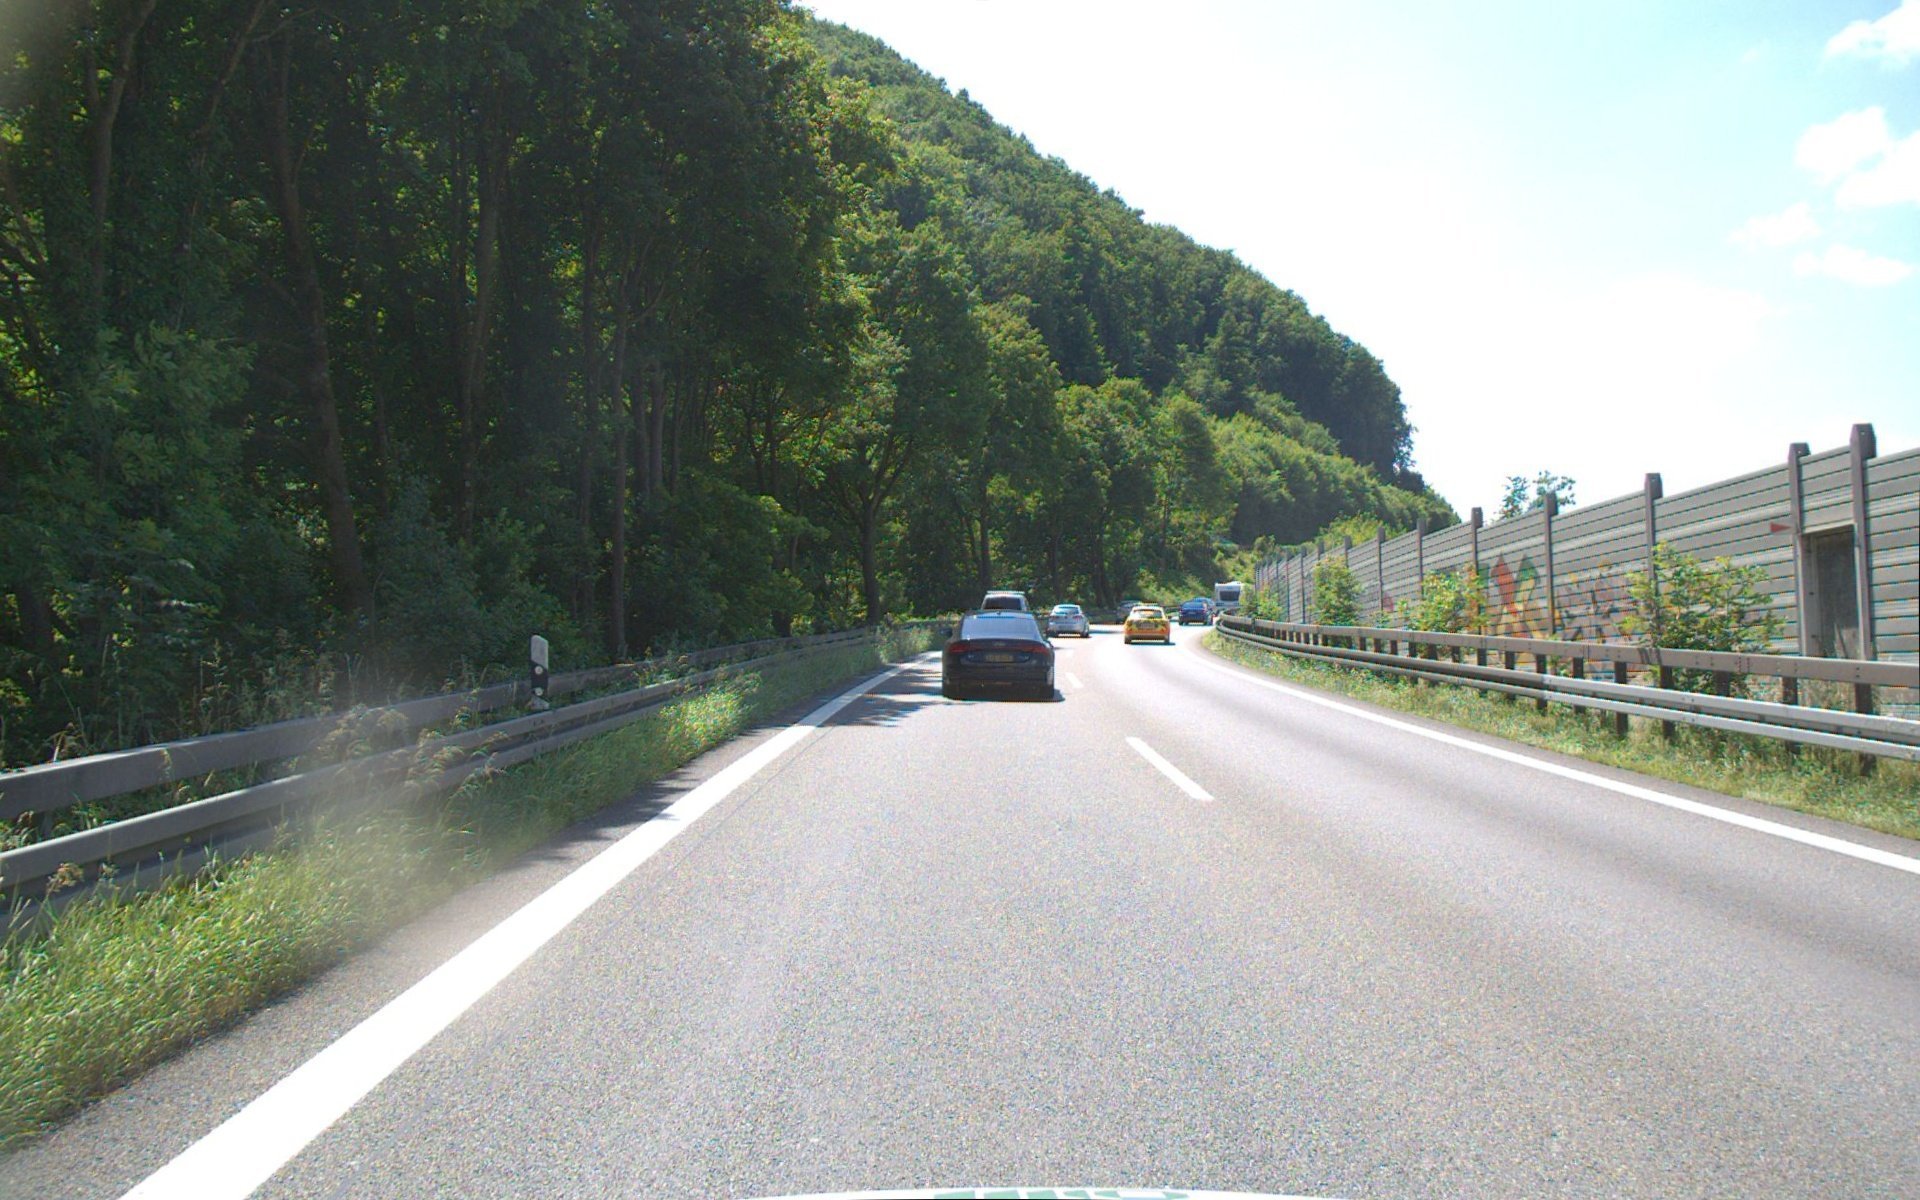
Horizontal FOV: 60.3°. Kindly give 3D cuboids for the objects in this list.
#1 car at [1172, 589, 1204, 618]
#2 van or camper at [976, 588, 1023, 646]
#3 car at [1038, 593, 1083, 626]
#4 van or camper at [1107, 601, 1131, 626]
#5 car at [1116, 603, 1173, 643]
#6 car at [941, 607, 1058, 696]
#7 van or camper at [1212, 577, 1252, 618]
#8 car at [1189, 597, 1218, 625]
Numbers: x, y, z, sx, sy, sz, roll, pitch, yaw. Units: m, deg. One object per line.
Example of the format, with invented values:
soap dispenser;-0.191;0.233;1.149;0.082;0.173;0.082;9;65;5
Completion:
car;14.502;0.228;105.409;1.736;1.665;4.002;-2;-2;5
van or camper;1.288;0.563;54.787;1.363;1.848;3.999;-1;-1;-1
car;4.493;0.441;74.267;1.711;1.456;3.999;-1;-1;-1
van or camper;10.319;0.869;107.368;1.525;1.561;3.507;-1;-1;6
car;7.275;0.921;65.577;1.824;1.514;4.000;-1;-1;0
car;0.597;0.833;28.112;1.800;1.373;3.999;-1;-1;-1
van or camper;20.540;-0.133;124.799;2.403;2.969;6.130;-1;-1;15
car;19.787;0.909;134.165;1.951;2.049;4.003;-3;-3;13
